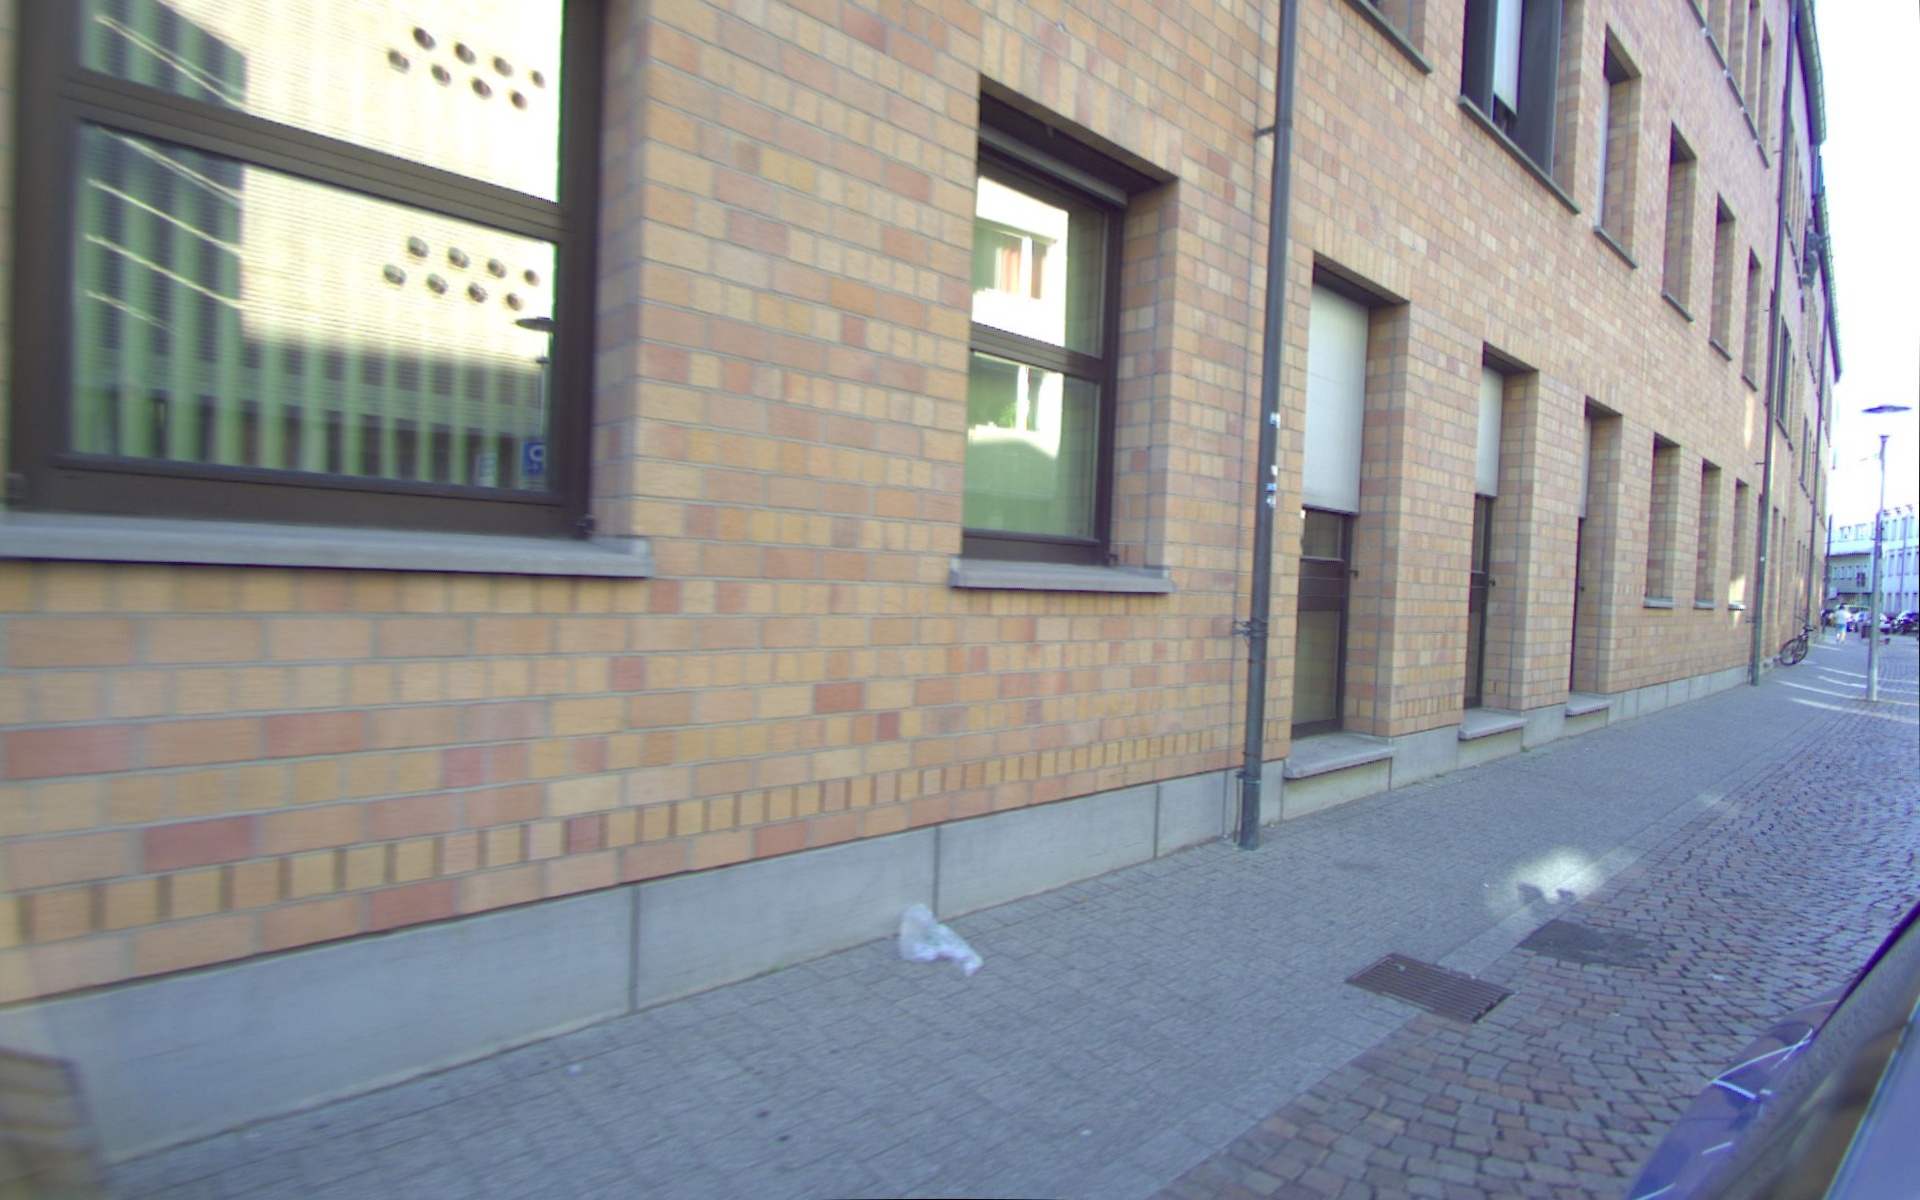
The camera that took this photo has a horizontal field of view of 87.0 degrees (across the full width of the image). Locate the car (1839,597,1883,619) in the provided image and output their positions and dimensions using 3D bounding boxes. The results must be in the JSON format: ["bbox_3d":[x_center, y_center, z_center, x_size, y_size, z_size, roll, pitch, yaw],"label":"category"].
[{"bbox_3d":[74.225,0.636,83.431,1.921,1.671,3.794,4,3,32],"label":"car"}]

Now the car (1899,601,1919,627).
[{"bbox_3d":[65.965,0.994,69.130,1.921,1.671,3.793,3,2,32],"label":"car"}]

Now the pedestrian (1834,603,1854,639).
[{"bbox_3d":[39.402,0.910,45.109,0.542,1.563,0.398,4,3,45],"label":"pedestrian"}]

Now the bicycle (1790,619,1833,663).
[{"bbox_3d":[20.179,0.948,23.962,0.641,0.892,2.517,5,3,42],"label":"bicycle"}]
